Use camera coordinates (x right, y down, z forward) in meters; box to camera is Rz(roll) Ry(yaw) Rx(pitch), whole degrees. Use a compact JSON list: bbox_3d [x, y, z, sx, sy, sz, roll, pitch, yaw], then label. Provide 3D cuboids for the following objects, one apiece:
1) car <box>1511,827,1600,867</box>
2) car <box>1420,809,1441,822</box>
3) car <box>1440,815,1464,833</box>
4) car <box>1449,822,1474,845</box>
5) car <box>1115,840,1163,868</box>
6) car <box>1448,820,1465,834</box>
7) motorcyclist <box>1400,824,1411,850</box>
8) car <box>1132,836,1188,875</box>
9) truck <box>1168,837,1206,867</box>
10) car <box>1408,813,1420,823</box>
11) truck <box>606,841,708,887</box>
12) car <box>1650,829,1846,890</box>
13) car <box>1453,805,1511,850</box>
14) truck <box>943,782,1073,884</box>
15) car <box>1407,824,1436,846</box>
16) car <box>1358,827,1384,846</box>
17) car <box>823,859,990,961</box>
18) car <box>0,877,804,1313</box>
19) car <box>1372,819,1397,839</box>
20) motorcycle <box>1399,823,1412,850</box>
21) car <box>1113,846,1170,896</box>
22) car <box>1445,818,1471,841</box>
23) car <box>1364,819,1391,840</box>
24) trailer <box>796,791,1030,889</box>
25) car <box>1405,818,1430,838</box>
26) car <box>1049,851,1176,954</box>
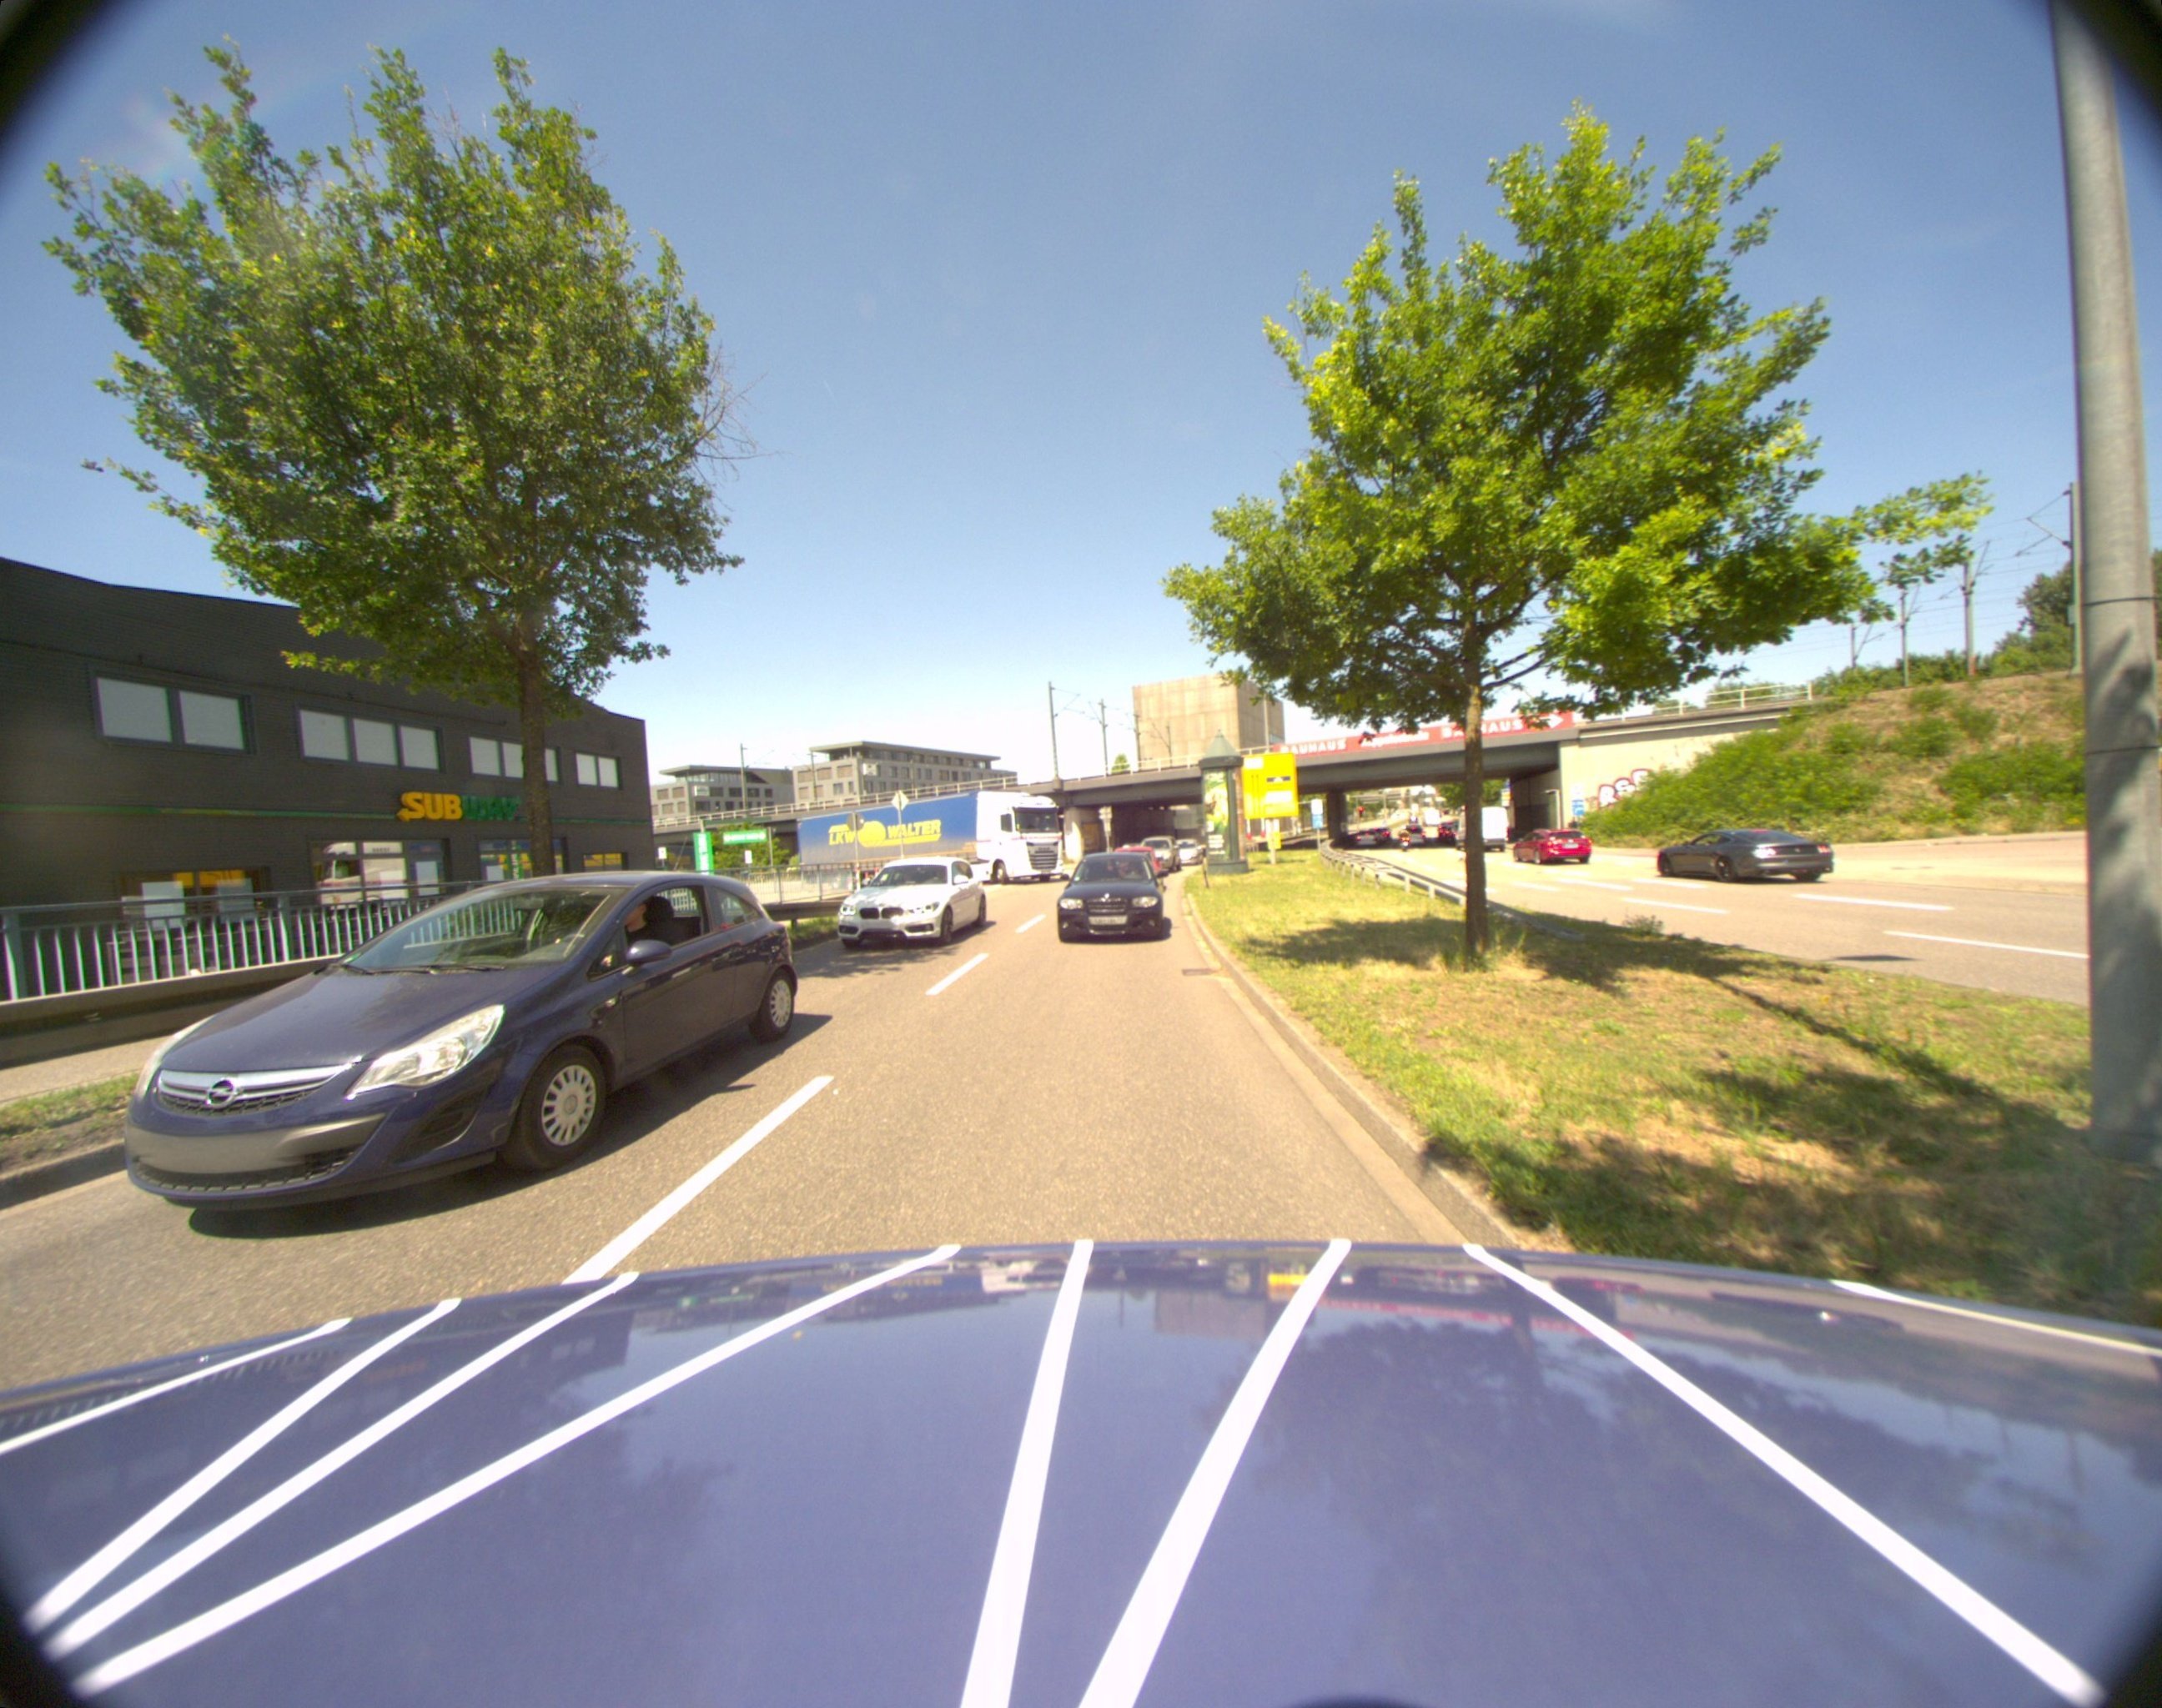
[{"bbox_3d":[19.615,-0.344,31.620,1.833,1.429,4.529,-2,2,14],"label":"car"},{"bbox_3d":[56.761,-6.222,123.391,1.996,2.091,6.388,-2,2,15],"label":"car"},{"bbox_3d":[32.990,-2.647,67.481,1.571,1.494,3.412,-2,2,31],"label":"car"},{"bbox_3d":[27.819,-1.495,55.480,1.515,1.533,3.685,-2,2,28],"label":"car"},{"bbox_3d":[3.531,-0.040,45.398,1.714,1.434,4.004,-2,2,21],"label":"car"},{"bbox_3d":[36.407,-2.660,73.678,1.183,1.241,2.696,-2,2,31],"label":"car"},{"bbox_3d":[20.898,-1.101,48.993,0.587,1.617,0.563,-2,2,21],"label":"motorcyclist"},{"bbox_3d":[3.850,0.029,36.461,1.843,1.686,3.703,-2,2,18],"label":"car"},{"bbox_3d":[6.224,-0.152,44.425,1.729,1.493,4.003,-2,2,14],"label":"truck"},{"bbox_3d":[65.623,-7.104,149.753,1.995,2.002,4.005,-2,2,26],"label":"car"},{"bbox_3d":[-43.071,0.741,78.284,2.753,4.080,17.425,-3,2,-7],"label":"truck"},{"bbox_3d":[17.226,0.063,19.977,1.812,1.326,4.571,-2,2,11],"label":"car"},{"bbox_3d":[23.925,-1.506,45.609,2.097,2.486,5.817,-2,0,18],"label":"car"},{"bbox_3d":[-3.327,-0.824,33.521,2.580,4.078,5.747,-5,1,-42],"label":"truck"},{"bbox_3d":[25.317,-1.424,56.429,1.635,1.558,4.079,-1,1,29],"label":"car"},{"bbox_3d":[22.675,-1.416,59.286,1.635,1.395,4.227,-1,2,25],"label":"car"},{"bbox_3d":[-2.924,0.874,13.675,1.762,1.435,4.053,-1,1,5],"label":"car"},{"bbox_3d":[-3.392,0.978,4.794,1.650,1.436,3.891,-3,1,3],"label":"car"},{"bbox_3d":[30.756,-2.544,76.977,1.904,1.849,4.006,-2,2,27],"label":"car"},{"bbox_3d":[20.911,-1.123,49.045,0.598,1.669,2.428,-2,2,20],"label":"motorcycle"},{"bbox_3d":[1.908,0.494,24.324,1.646,1.391,4.052,-1,1,3],"label":"car"},{"bbox_3d":[30.591,-1.990,61.767,1.773,1.658,4.021,-3,1,25],"label":"car"},{"bbox_3d":[28.062,-2.325,71.884,1.904,1.849,4.006,-2,2,27],"label":"car"},{"bbox_3d":[-8.839,-0.464,37.884,13.868,4.067,2.504,-3,2,35],"label":"trailer"},{"bbox_3d":[33.300,-2.589,75.149,1.904,1.849,4.006,-2,2,27],"label":"car"},{"bbox_3d":[0.721,0.745,13.647,1.680,1.409,4.058,-2,2,10],"label":"car"}]
